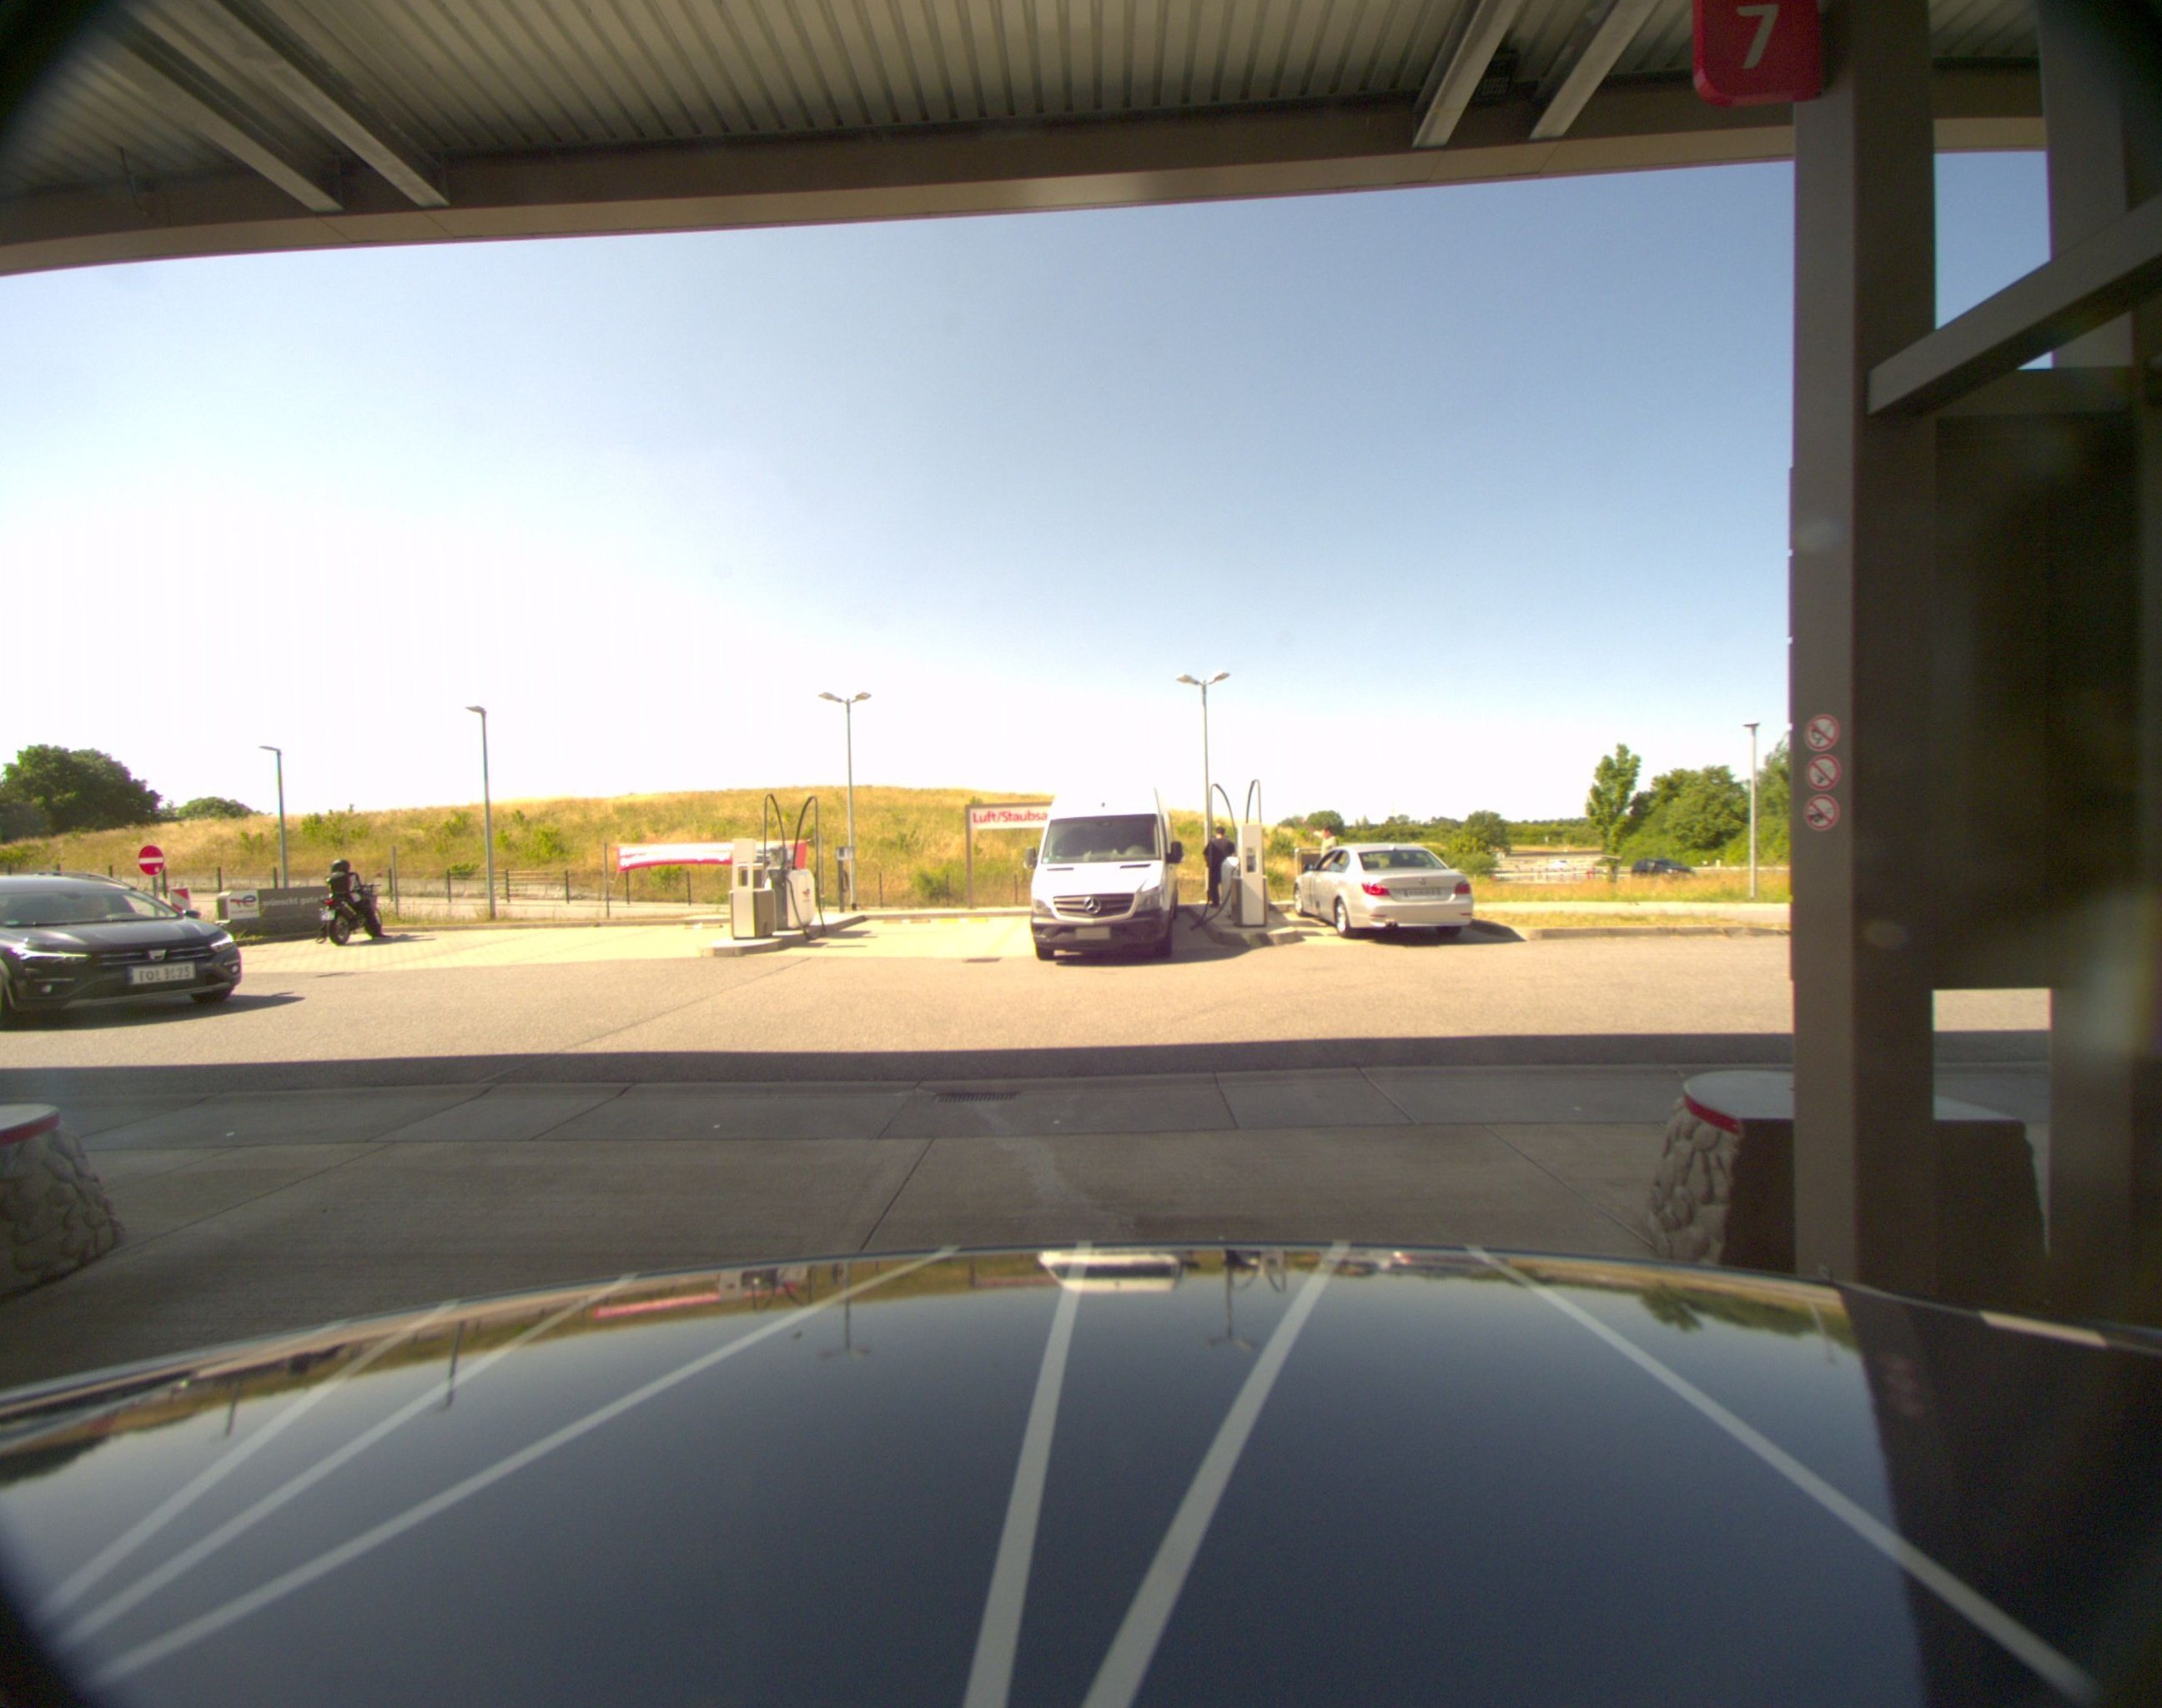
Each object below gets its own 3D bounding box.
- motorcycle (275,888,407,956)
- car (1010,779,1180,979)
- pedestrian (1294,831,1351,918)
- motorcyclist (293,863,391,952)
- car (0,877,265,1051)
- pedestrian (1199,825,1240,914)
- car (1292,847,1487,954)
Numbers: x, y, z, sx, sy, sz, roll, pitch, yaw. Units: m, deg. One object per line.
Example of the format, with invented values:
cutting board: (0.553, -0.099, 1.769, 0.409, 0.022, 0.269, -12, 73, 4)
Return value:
motorcycle: (-14.854, 1.315, 15.373, 1.047, 1.100, 2.411, -2, 2, -22)
car: (0.627, 0.174, 13.324, 1.997, 2.557, 7.032, -1, 3, 9)
pedestrian: (5.020, 0.413, 15.788, 0.846, 1.739, 0.708, -2, 1, -27)
motorcyclist: (-14.837, 1.041, 15.307, 1.036, 1.678, 1.097, -2, 1, -22)
car: (-12.300, 1.159, 8.947, 4.623, 1.635, 1.746, -1, 1, 17)
pedestrian: (2.812, 0.304, 15.517, 0.708, 1.759, 0.845, -1, 1, 4)
car: (4.993, 0.647, 12.987, 1.791, 1.420, 4.321, -1, 2, 3)
